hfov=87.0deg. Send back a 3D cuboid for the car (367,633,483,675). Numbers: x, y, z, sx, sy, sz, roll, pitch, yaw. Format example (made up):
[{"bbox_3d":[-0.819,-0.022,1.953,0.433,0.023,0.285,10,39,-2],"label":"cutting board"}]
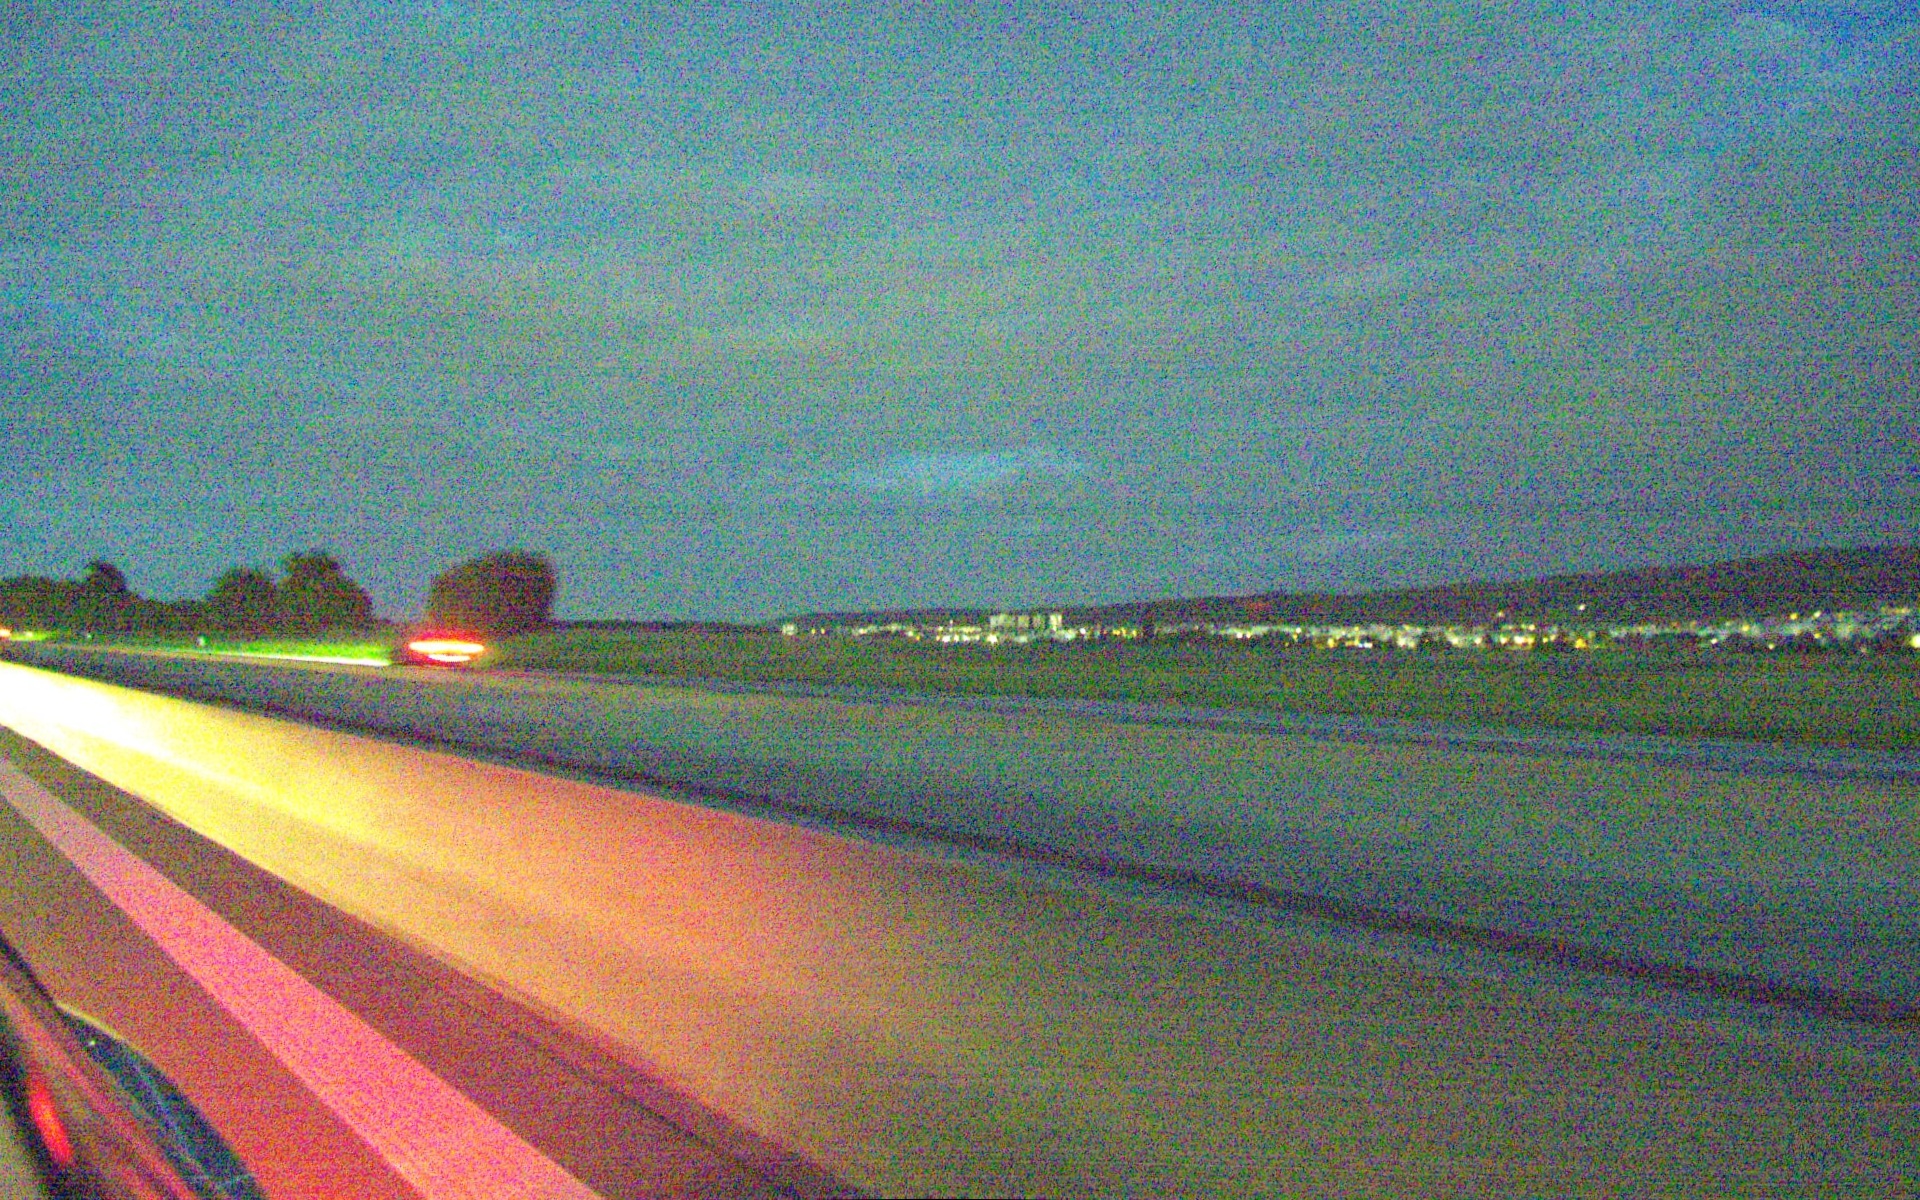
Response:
[{"bbox_3d":[-19.624,1.954,37.023,4.978,1.430,1.973,-1,-4,40],"label":"car"}]

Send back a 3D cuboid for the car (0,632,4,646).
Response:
[{"bbox_3d":[-121.089,4.827,126.395,4.773,1.733,2.023,-2,-4,42],"label":"car"}]
